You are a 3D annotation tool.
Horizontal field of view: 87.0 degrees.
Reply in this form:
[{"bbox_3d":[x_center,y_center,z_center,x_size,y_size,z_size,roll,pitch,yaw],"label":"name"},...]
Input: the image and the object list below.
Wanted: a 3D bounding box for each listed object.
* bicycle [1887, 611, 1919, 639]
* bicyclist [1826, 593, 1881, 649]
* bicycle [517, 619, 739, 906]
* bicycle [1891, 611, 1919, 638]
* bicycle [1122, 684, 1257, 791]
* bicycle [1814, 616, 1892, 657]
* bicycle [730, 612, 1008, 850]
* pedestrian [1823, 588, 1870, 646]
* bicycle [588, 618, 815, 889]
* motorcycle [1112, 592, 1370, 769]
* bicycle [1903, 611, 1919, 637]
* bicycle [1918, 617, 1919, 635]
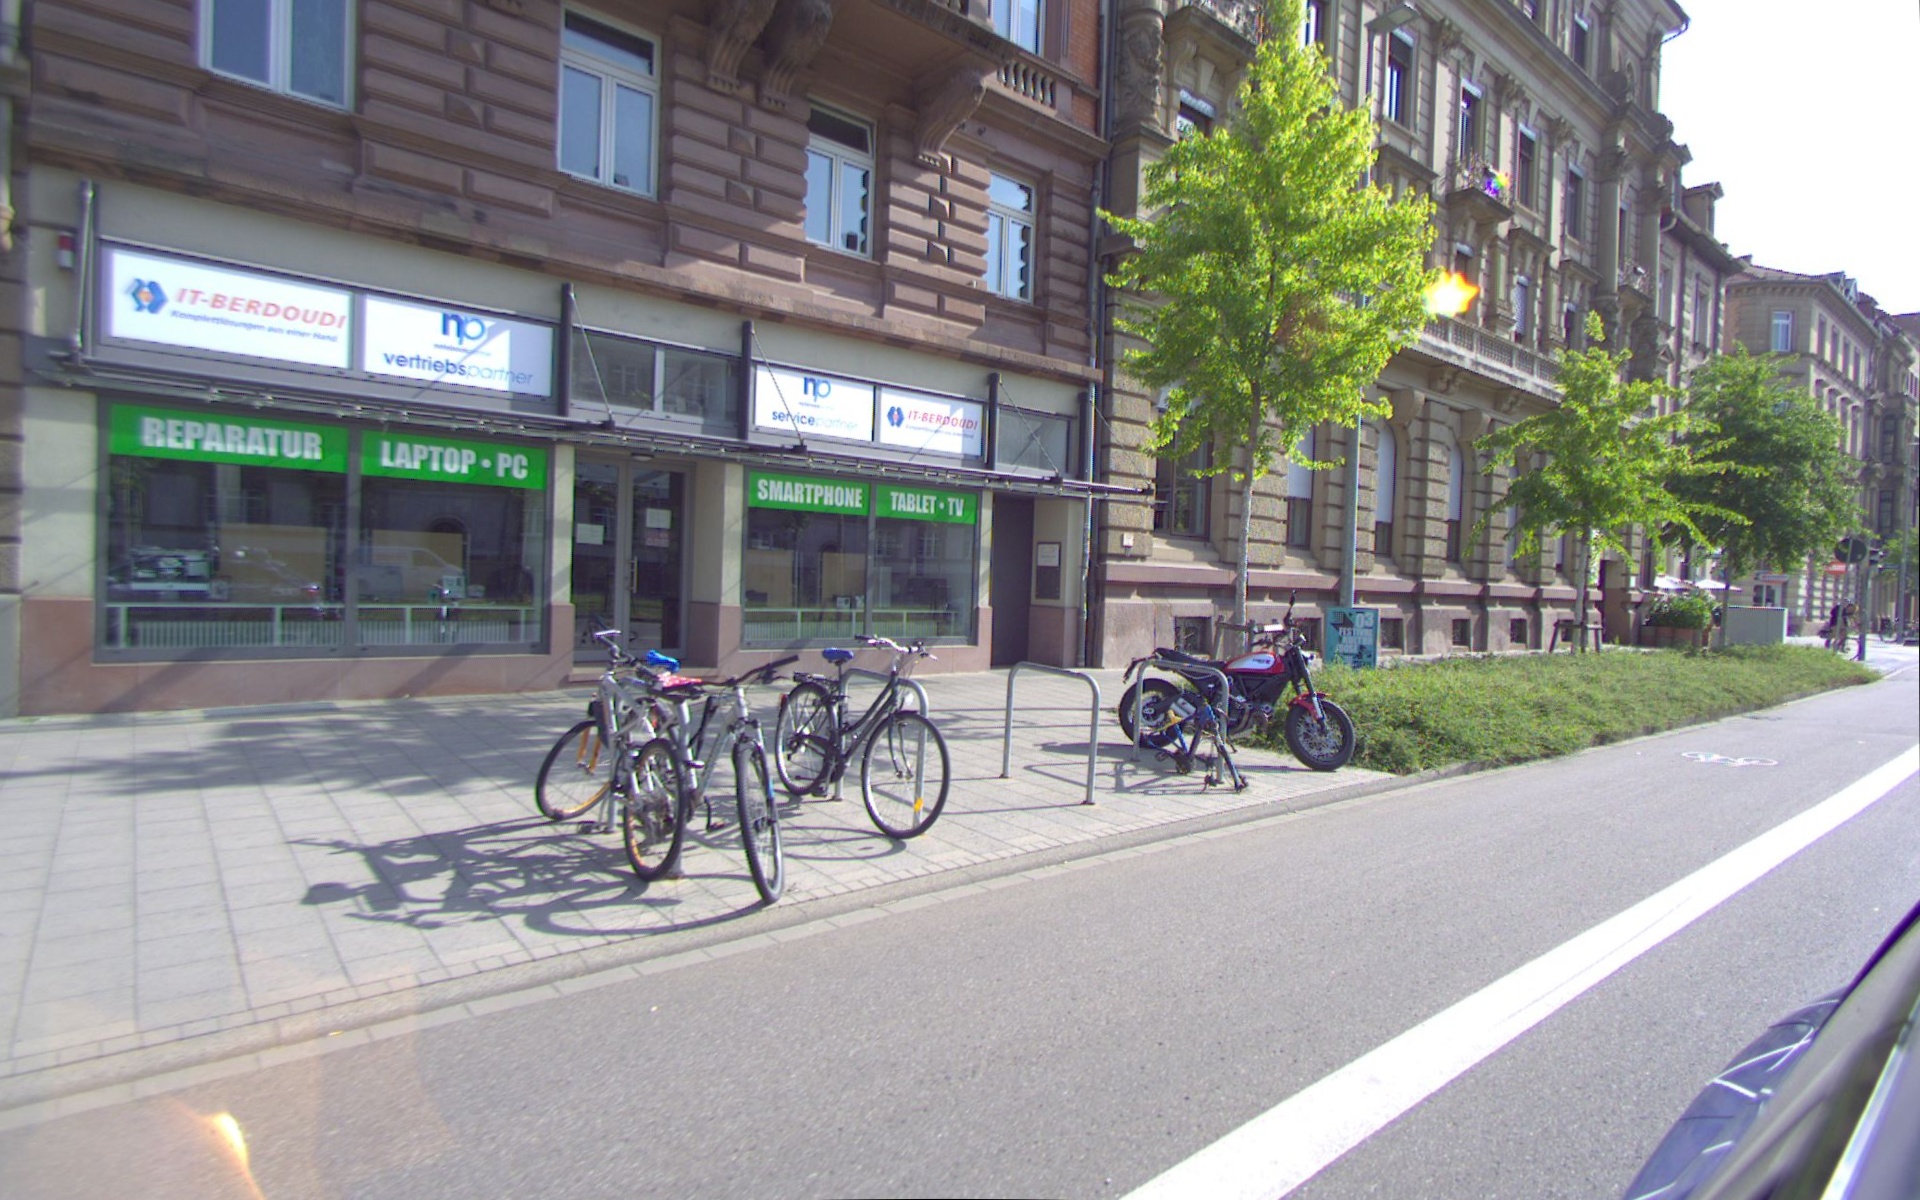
[{"bbox_3d":[41.359,1.095,43.766,0.572,1.100,1.759,2,3,-36],"label":"bicycle"},{"bbox_3d":[25.382,0.586,28.764,0.574,1.500,0.932,3,3,-3],"label":"bicyclist"},{"bbox_3d":[-1.720,0.699,5.052,0.366,1.067,1.789,2,3,-40],"label":"bicycle"},{"bbox_3d":[41.860,1.096,44.086,0.572,1.100,1.759,2,3,-36],"label":"bicycle"},{"bbox_3d":[1.720,1.017,7.659,0.354,0.617,0.961,1,3,-38],"label":"bicycle"},{"bbox_3d":[25.318,1.018,28.735,0.497,0.964,1.787,3,3,-3],"label":"bicycle"},{"bbox_3d":[-0.616,0.700,6.193,0.660,1.109,1.809,1,3,-44],"label":"bicycle"},{"bbox_3d":[29.420,0.568,33.587,0.849,1.828,0.991,3,1,-43],"label":"pedestrian"},{"bbox_3d":[-1.421,0.701,5.302,0.366,1.067,1.789,2,3,-40],"label":"bicycle"},{"bbox_3d":[2.413,0.651,8.845,2.013,1.302,0.702,4,1,15],"label":"motorcycle"},{"bbox_3d":[42.972,1.130,44.669,0.655,1.100,1.763,2,4,-34],"label":"bicycle"},{"bbox_3d":[44.320,1.136,45.398,1.746,1.100,0.666,6,4,28],"label":"bicycle"}]
